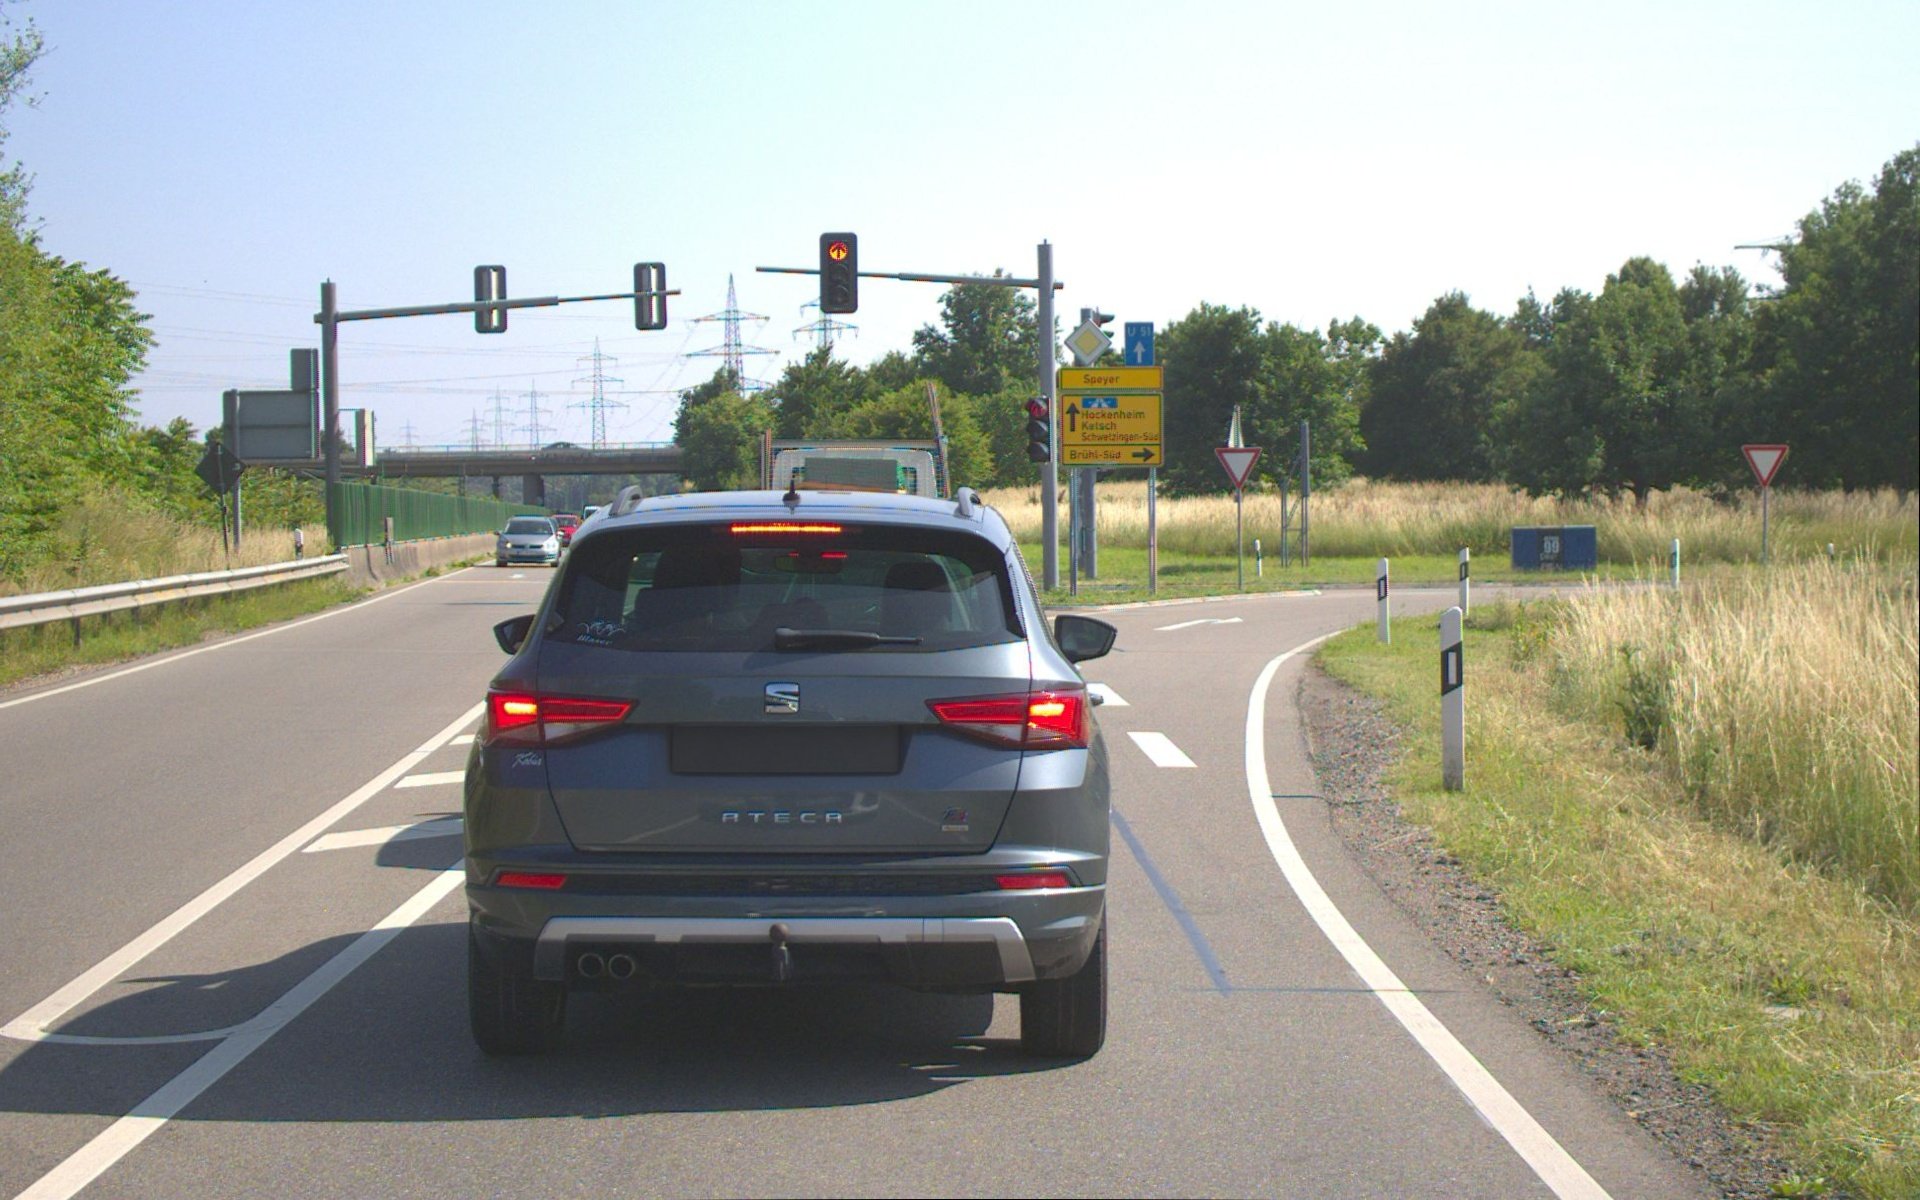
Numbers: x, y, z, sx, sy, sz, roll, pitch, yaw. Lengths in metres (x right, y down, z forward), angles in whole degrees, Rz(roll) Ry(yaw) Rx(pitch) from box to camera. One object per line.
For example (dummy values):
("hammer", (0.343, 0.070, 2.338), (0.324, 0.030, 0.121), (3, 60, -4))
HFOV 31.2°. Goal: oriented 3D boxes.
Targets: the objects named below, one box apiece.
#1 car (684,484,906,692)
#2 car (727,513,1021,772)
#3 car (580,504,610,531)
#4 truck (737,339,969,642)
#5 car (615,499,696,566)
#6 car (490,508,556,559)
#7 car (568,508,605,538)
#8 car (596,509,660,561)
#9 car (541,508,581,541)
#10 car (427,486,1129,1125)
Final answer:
("car", (-1.441, -0.163, 29.960), (1.785, 1.670, 4.001), (-1, 2, -3))
("car", (-0.624, 0.206, 23.017), (1.785, 1.538, 4.001), (-1, 2, -3))
("car", (-26.887, -6.075, 253.029), (1.963, 1.945, 4.999), (-1, 2, -8))
("truck", (-1.167, -1.153, 37.583), (2.337, 3.055, 5.810), (0, 1, -2))
("car", (-7.234, -1.615, 81.455), (1.816, 1.535, 4.001), (-1, 2, -6))
("car", (-12.660, -1.942, 99.754), (1.824, 1.426, 4.001), (-1, 2, -7))
("car", (-18.812, -3.891, 173.054), (1.761, 1.426, 4.001), (-1, 2, -7))
("car", (-9.068, -1.790, 93.797), (1.684, 1.375, 3.534), (0, 2, -6))
("car", (-18.022, -3.413, 155.226), (1.761, 1.426, 4.001), (-1, 2, -7))
("car", (-0.562, 0.460, 10.833), (1.785, 1.623, 4.001), (-1, 2, -3))
